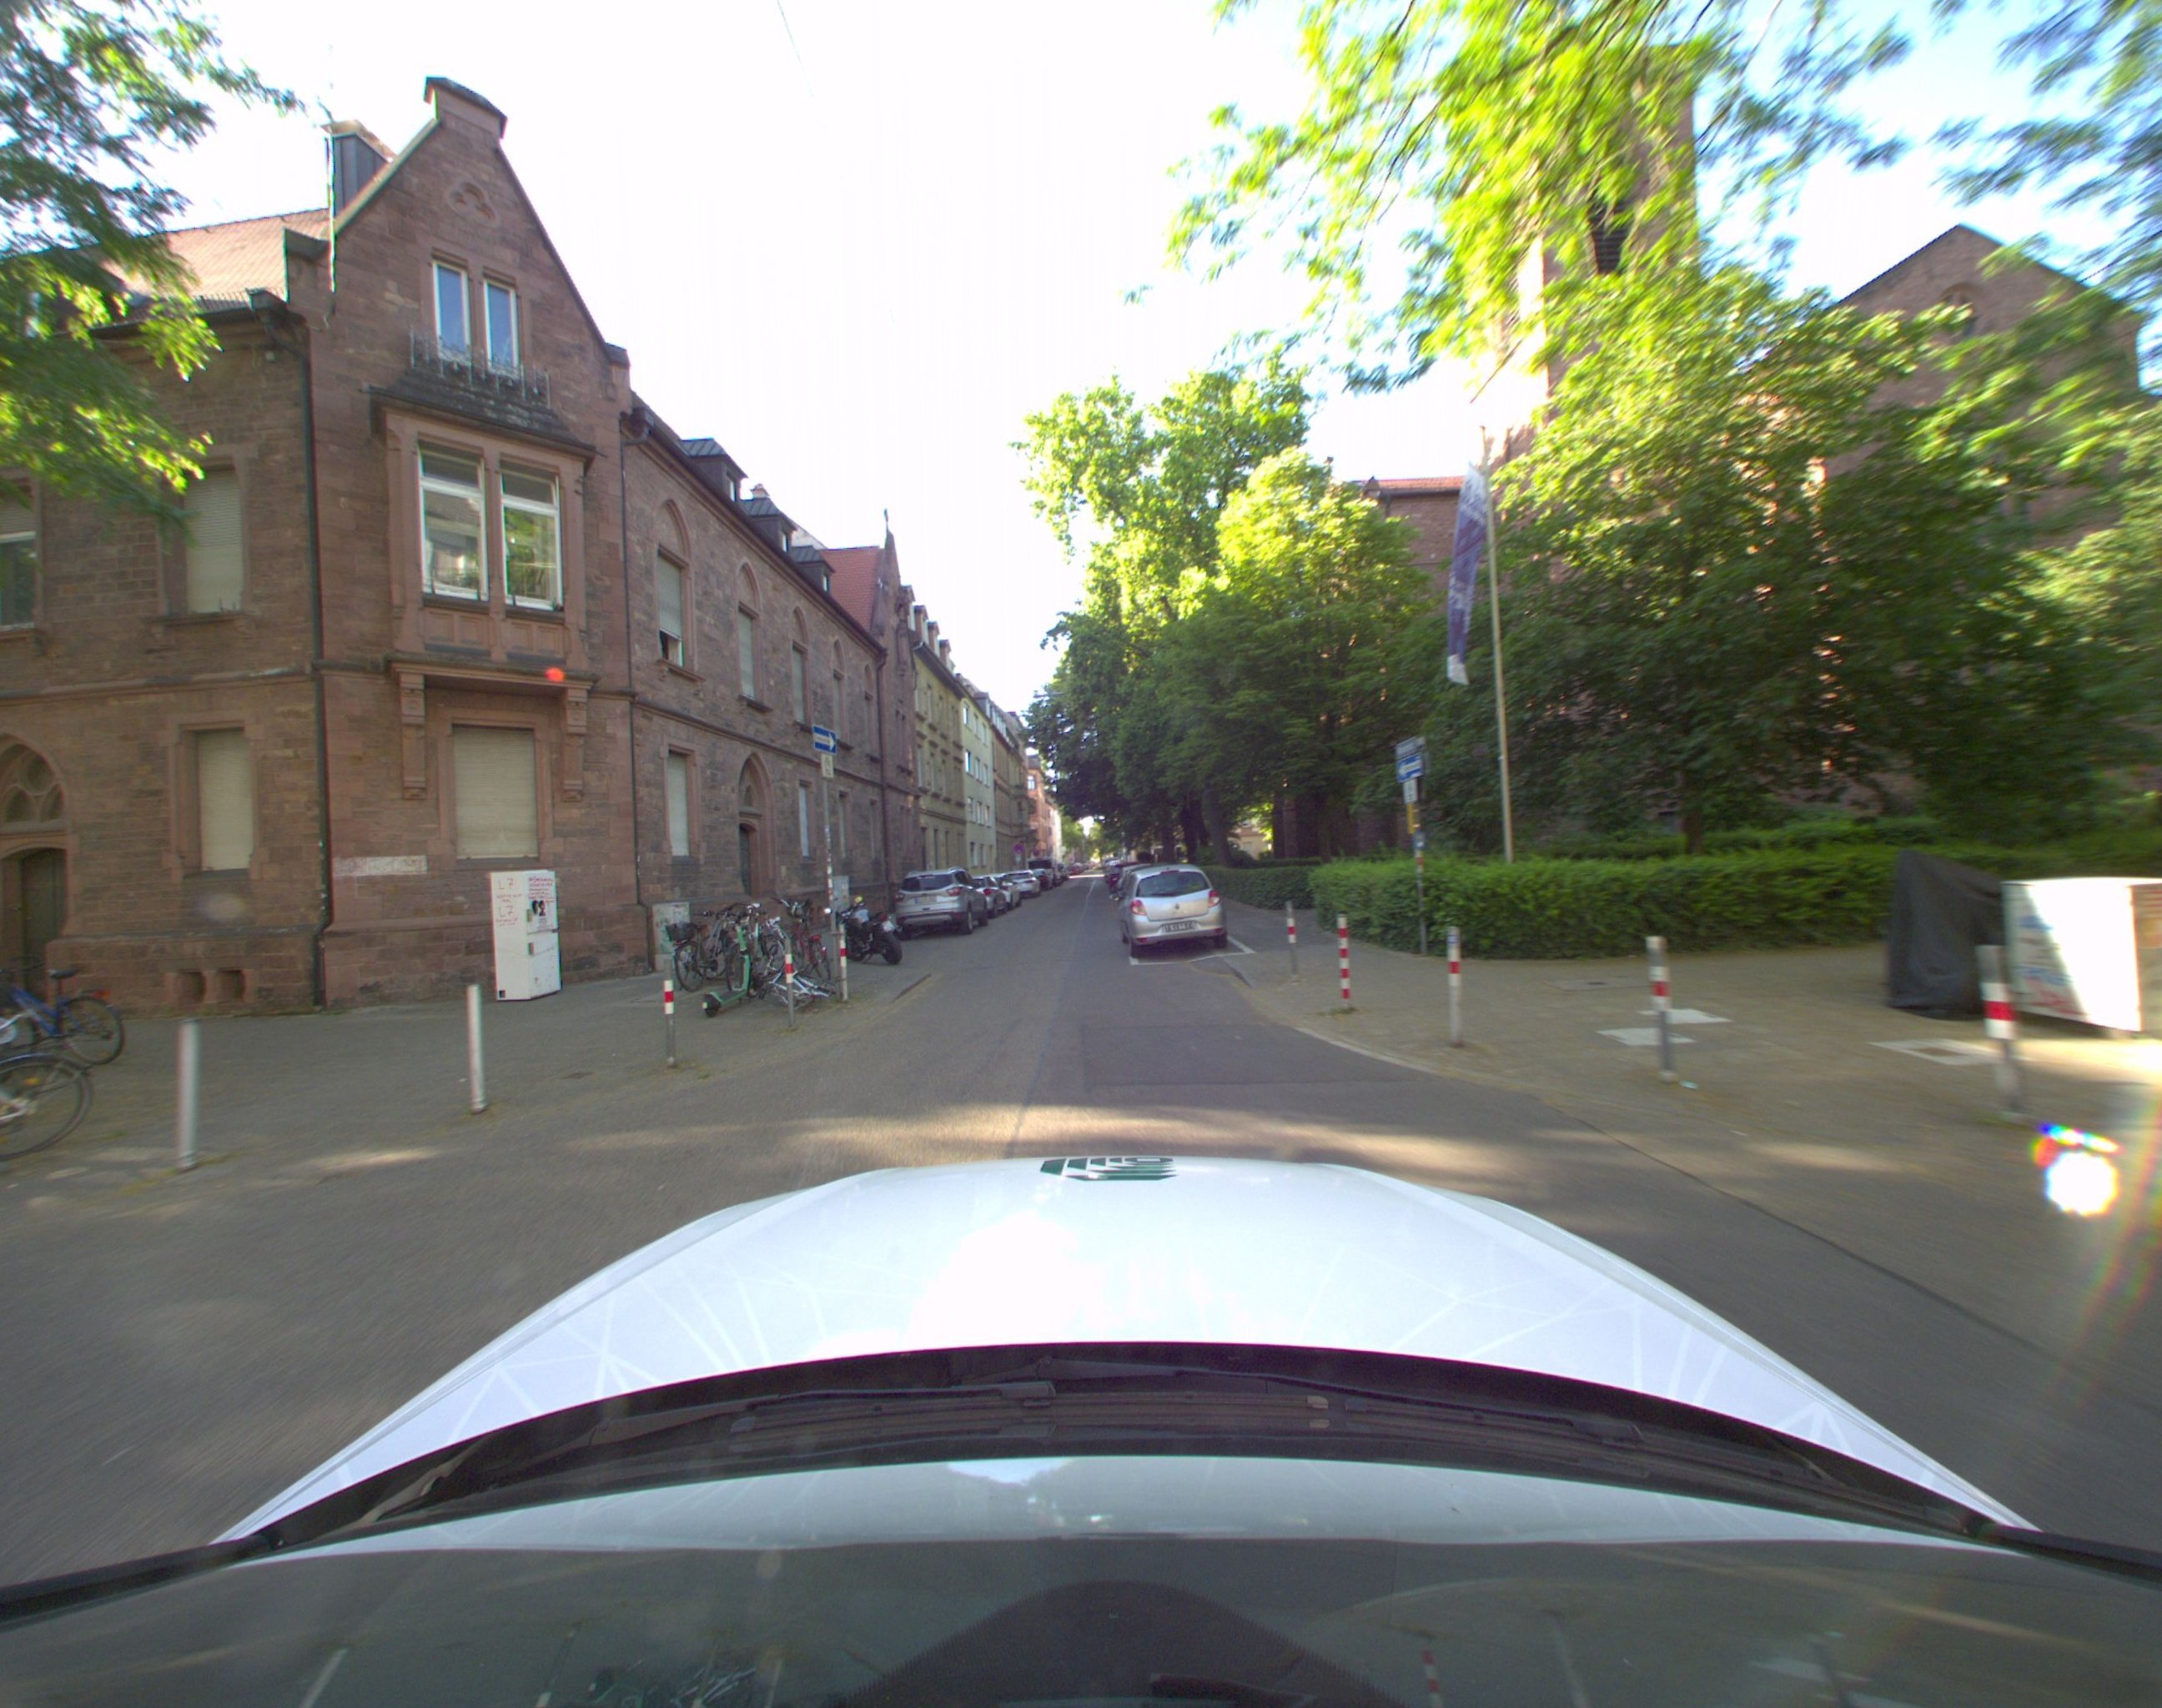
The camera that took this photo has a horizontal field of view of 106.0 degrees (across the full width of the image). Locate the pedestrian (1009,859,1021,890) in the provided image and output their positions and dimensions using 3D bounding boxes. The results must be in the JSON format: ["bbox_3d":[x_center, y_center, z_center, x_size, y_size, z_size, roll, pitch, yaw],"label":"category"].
[{"bbox_3d":[-4.425,1.348,54.276,0.684,2.014,0.690,-3,-1,-6],"label":"pedestrian"}]

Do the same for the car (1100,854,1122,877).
[{"bbox_3d":[3.151,1.202,86.723,2.154,2.255,4.525,-3,-1,0],"label":"car"}]

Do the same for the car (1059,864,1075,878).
[{"bbox_3d":[-1.854,2.289,109.686,1.944,1.709,3.999,-3,-1,0],"label":"car"}]

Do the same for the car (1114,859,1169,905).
[{"bbox_3d":[2.281,1.031,31.705,1.835,1.596,4.000,-3,0,1],"label":"car"}]

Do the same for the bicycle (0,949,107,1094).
[{"bbox_3d":[-10.441,1.568,7.548,1.955,1.180,0.685,-3,1,2],"label":"bicycle"}]

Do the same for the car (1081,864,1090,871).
[{"bbox_3d":[1.159,3.449,206.577,1.986,1.647,4.000,-3,-1,1],"label":"car"}]

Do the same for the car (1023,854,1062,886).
[{"bbox_3d":[-2.735,1.145,59.496,2.300,2.114,5.172,-3,-1,2],"label":"car"}]

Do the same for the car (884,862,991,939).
[{"bbox_3d":[-3.657,1.150,21.510,1.875,1.707,4.002,-4,-1,2],"label":"car"}]

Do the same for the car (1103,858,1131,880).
[{"bbox_3d":[2.757,1.186,63.778,1.987,1.574,4.000,-3,-1,0],"label":"car"}]

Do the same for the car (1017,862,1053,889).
[{"bbox_3d":[-2.966,1.376,52.922,1.987,1.574,4.000,-3,-1,0],"label":"car"}]

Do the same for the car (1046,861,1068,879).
[{"bbox_3d":[-2.345,1.559,80.134,1.896,1.574,4.000,-3,-1,0],"label":"car"}]

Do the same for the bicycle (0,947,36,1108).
[{"bbox_3d":[-9.430,1.498,5.791,0.680,1.321,2.447,-3,1,3],"label":"bicycle"}]

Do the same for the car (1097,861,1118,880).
[{"bbox_3d":[2.377,1.506,74.641,1.787,1.574,4.222,-3,-1,0],"label":"car"}]

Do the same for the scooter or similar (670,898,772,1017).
[{"bbox_3d":[-4.362,1.218,9.968,0.527,1.277,1.302,-3,-1,5],"label":"scooter or similar"}]

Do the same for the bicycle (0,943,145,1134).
[{"bbox_3d":[-8.512,1.473,5.816,0.680,1.321,2.447,-3,1,3],"label":"bicycle"}]

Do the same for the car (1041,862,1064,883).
[{"bbox_3d":[-2.503,1.631,72.236,1.787,1.573,4.001,-3,2,0],"label":"car"}]

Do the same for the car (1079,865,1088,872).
[{"bbox_3d":[0.540,3.522,197.990,1.986,1.647,4.000,-3,-1,1],"label":"car"}]

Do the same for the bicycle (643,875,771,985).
[{"bbox_3d":[-5.630,1.064,12.496,0.681,1.423,2.796,-3,-1,-2],"label":"bicycle"}]

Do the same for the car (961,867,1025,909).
[{"bbox_3d":[-3.440,1.310,32.493,1.875,1.411,4.002,-4,-1,2],"label":"car"}]

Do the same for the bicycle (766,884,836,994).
[{"bbox_3d":[-3.967,1.135,11.710,0.684,1.345,2.490,-3,-1,-14],"label":"bicycle"}]

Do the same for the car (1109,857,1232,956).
[{"bbox_3d":[1.533,0.867,15.346,1.719,1.522,3.998,-3,0,-1],"label":"car"}]

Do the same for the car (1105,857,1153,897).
[{"bbox_3d":[2.079,0.996,36.542,1.888,1.625,4.000,-3,-1,1],"label":"car"}]

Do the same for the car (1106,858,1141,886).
[{"bbox_3d":[2.663,1.145,52.203,1.987,1.574,4.000,-3,-1,0],"label":"car"}]

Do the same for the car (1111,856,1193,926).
[{"bbox_3d":[1.728,0.887,20.877,1.717,1.522,4.000,-3,-1,0],"label":"car"}]

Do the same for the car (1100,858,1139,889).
[{"bbox_3d":[2.157,1.110,46.417,1.987,1.574,4.000,-3,-1,0],"label":"car"}]

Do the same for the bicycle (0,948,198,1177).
[{"bbox_3d":[-7.293,1.427,5.265,0.680,1.321,2.144,-3,1,3],"label":"bicycle"}]

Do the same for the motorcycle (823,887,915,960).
[{"bbox_3d":[-3.958,1.256,15.063,0.670,1.207,2.283,-2,-1,-41],"label":"motorcycle"}]

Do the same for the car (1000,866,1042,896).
[{"bbox_3d":[-3.064,1.368,42.178,1.765,1.353,4.000,-3,0,1],"label":"car"}]

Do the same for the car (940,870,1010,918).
[{"bbox_3d":[-3.555,1.307,27.979,1.719,1.393,4.001,-3,-1,1],"label":"car"}]

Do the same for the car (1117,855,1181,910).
[{"bbox_3d":[2.132,0.892,26.516,1.735,1.574,4.000,-3,-1,0],"label":"car"}]

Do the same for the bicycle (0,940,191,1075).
[{"bbox_3d":[-10.435,1.557,8.297,1.954,1.180,0.685,-3,1,2],"label":"bicycle"}]

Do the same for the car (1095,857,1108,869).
[{"bbox_3d":[3.113,1.337,124.356,1.987,1.728,4.001,-3,0,1],"label":"car"}]

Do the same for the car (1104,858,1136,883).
[{"bbox_3d":[2.654,1.158,56.713,1.987,1.574,4.000,-3,-1,0],"label":"car"}]

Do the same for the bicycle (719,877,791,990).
[{"bbox_3d":[-4.711,1.072,11.907,0.573,1.423,2.490,-3,-1,-14],"label":"bicycle"}]

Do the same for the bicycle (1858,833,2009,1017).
[{"bbox_3d":[7.530,0.542,7.282,0.767,1.371,2.137,-4,-1,44],"label":"bicycle"}]

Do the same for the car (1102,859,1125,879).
[{"bbox_3d":[2.682,1.249,68.135,1.787,1.574,4.000,-3,-1,0],"label":"car"}]

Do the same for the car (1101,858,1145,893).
[{"bbox_3d":[2.093,1.084,41.594,1.987,1.574,4.000,-3,-1,0],"label":"car"}]

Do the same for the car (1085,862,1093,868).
[{"bbox_3d":[2.241,3.185,229.067,1.986,1.647,4.000,-3,-1,1],"label":"car"}]
